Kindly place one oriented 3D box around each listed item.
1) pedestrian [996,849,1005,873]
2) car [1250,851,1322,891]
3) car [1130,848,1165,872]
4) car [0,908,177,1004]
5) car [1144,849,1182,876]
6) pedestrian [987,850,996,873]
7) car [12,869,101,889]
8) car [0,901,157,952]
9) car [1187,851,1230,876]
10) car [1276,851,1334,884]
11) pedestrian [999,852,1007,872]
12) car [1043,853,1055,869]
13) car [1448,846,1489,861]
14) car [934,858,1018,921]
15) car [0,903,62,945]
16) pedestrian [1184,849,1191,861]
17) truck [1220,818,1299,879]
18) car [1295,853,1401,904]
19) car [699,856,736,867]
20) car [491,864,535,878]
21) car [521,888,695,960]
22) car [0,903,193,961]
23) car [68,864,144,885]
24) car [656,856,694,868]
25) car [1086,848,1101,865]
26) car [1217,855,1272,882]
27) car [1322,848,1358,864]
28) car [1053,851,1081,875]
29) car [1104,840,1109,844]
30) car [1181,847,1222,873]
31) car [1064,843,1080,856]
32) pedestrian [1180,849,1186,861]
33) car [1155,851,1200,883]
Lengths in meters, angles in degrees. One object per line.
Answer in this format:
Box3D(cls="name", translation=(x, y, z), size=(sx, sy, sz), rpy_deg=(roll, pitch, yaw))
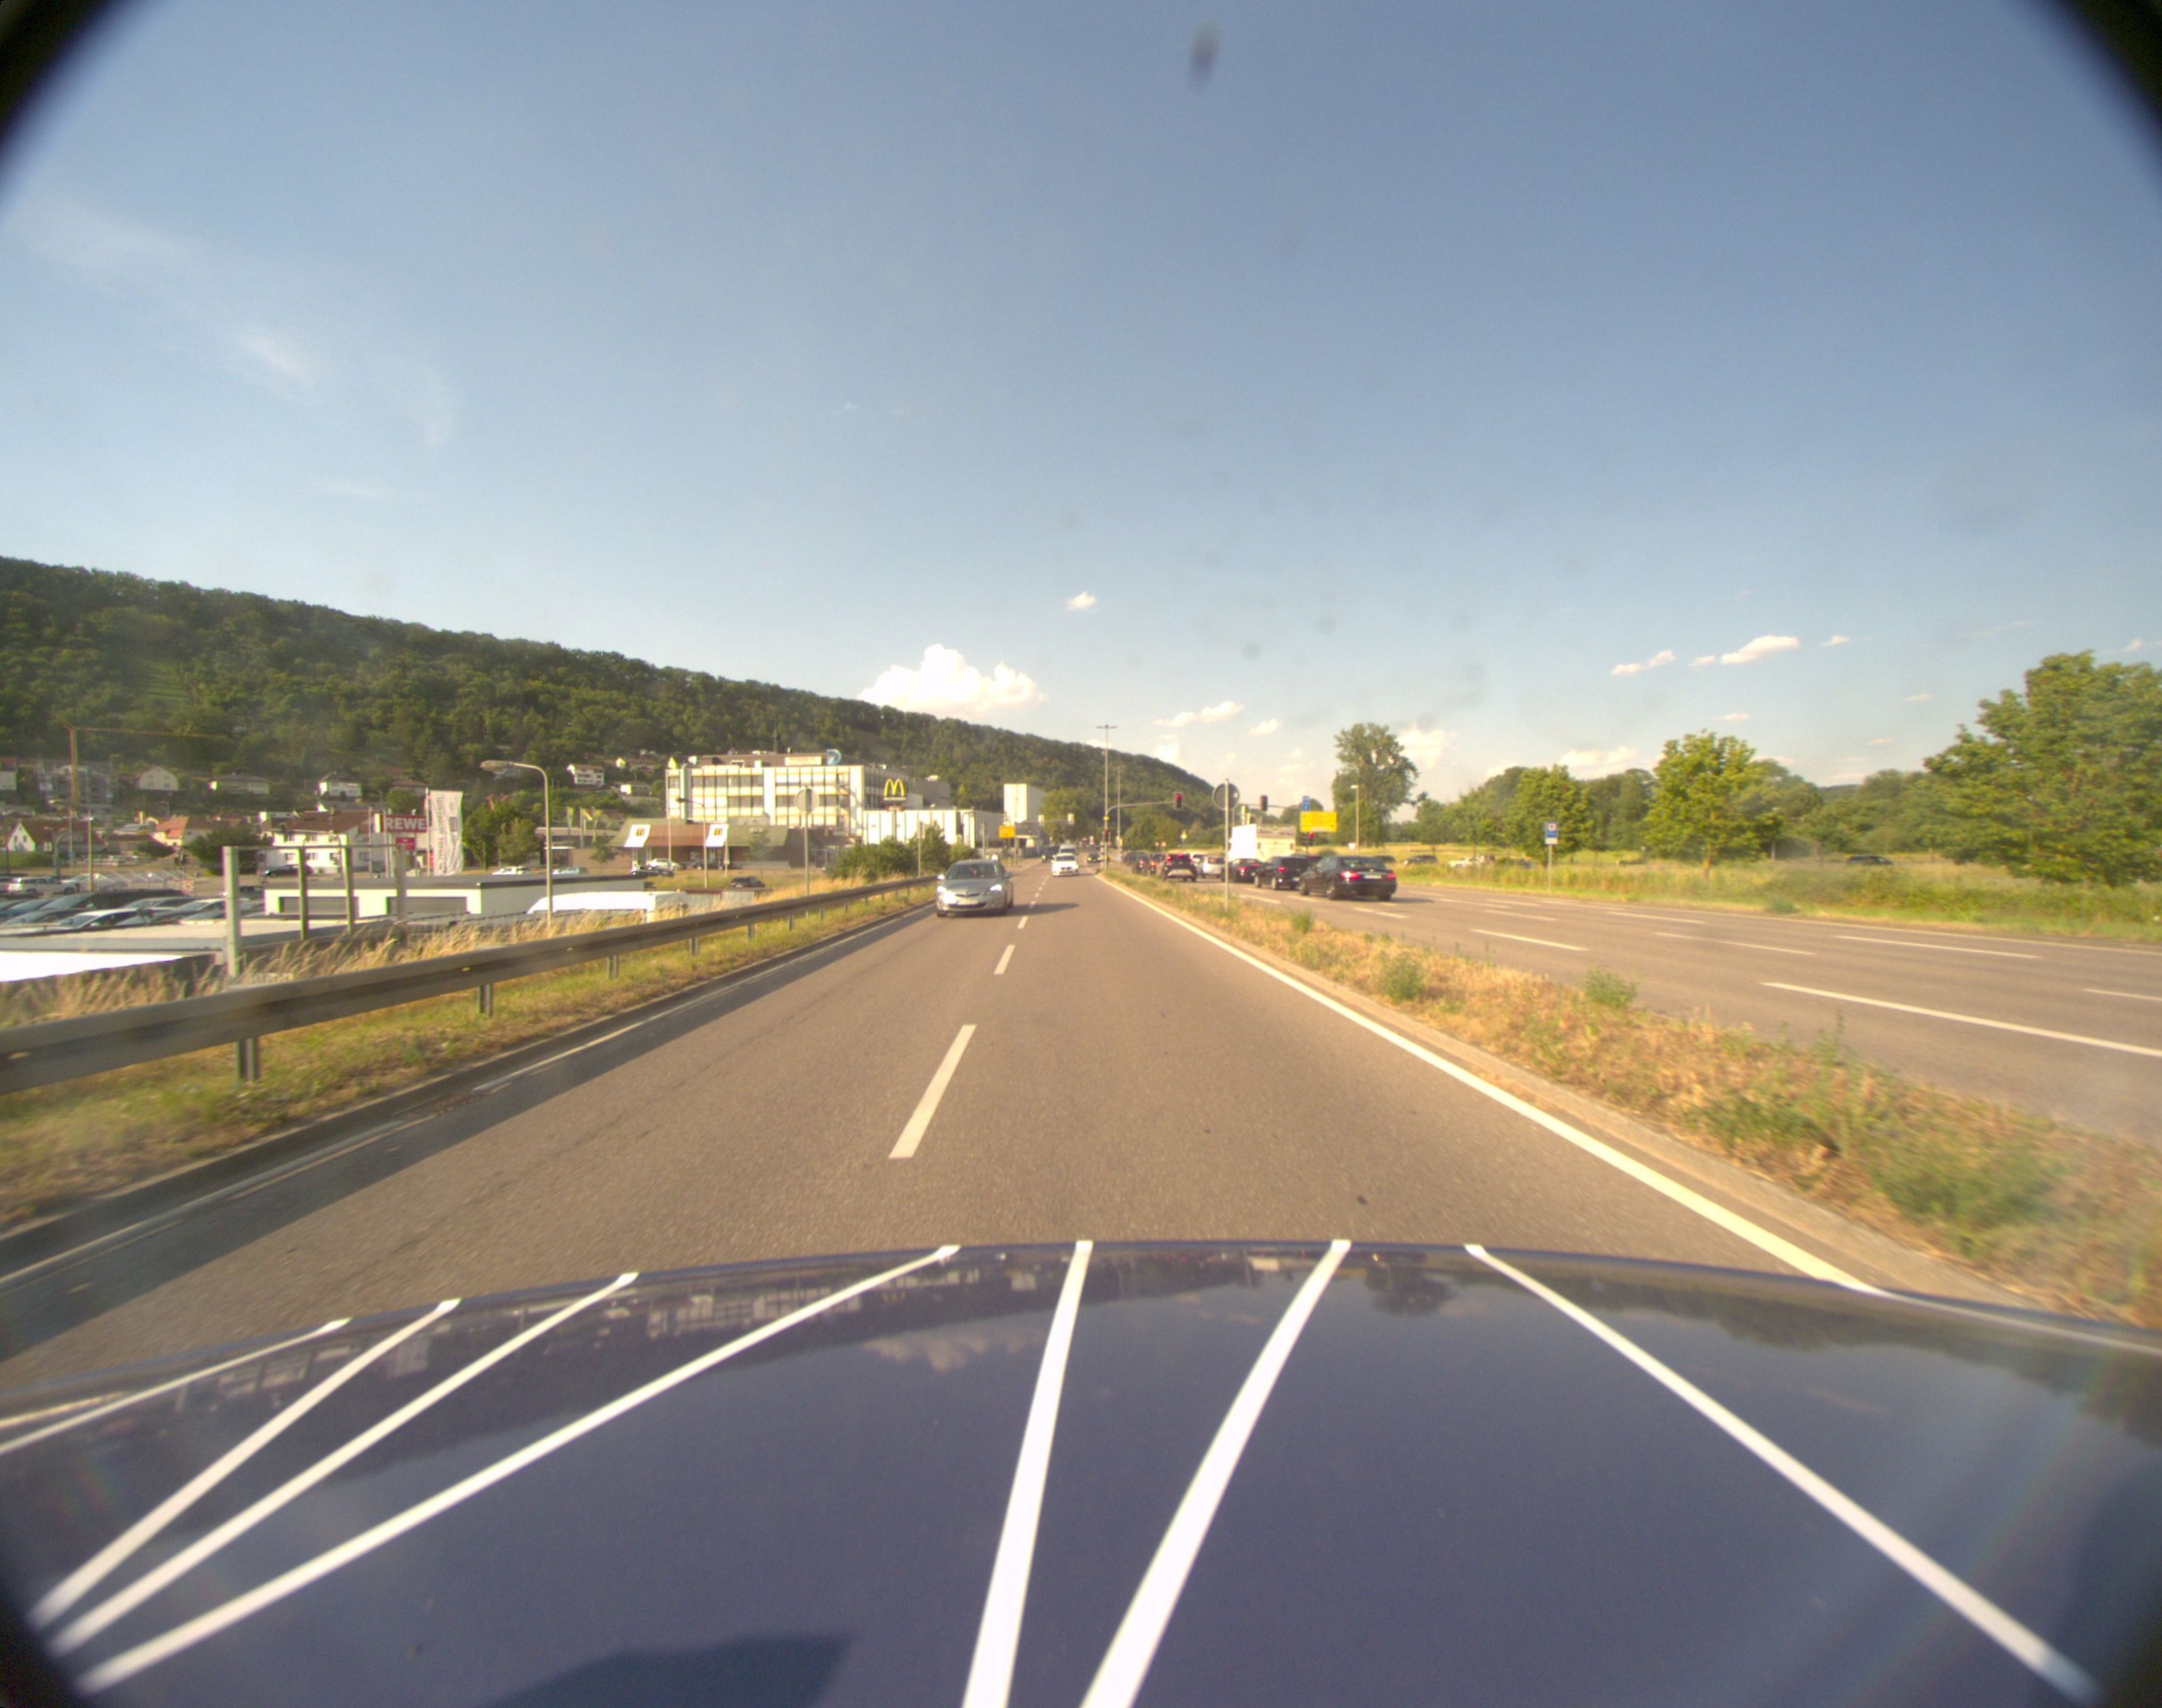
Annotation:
Box3D(cls="pedestrian", translation=(-6.309, 0.565, 59.350), size=(0.620, 1.872, 0.861), rpy_deg=(0, 2, -2))
Box3D(cls="car", translation=(8.501, 0.652, 31.836), size=(1.706, 1.465, 4.243), rpy_deg=(1, 1, -2))
Box3D(cls="car", translation=(4.564, 0.360, 52.551), size=(1.795, 1.458, 4.927), rpy_deg=(-1, 1, -2))
Box3D(cls="car", translation=(-26.339, 2.581, 18.846), size=(1.759, 1.941, 4.827), rpy_deg=(-2, 2, 3))
Box3D(cls="car", translation=(4.962, 0.524, 46.499), size=(1.785, 1.528, 4.571), rpy_deg=(0, -1, -1))
Box3D(cls="pedestrian", translation=(-7.185, 0.604, 60.870), size=(0.532, 1.740, 0.537), rpy_deg=(3, 2, 4))
Box3D(cls="car", translation=(-88.377, 2.126, 65.644), size=(1.837, 1.554, 4.338), rpy_deg=(0, 1, -2))
Box3D(cls="car", translation=(-41.666, 2.944, 31.101), size=(1.757, 1.557, 4.484), rpy_deg=(-2, 2, 16))
Box3D(cls="car", translation=(8.002, 0.574, 48.108), size=(1.706, 1.397, 5.079), rpy_deg=(0, 1, -1))
Box3D(cls="car", translation=(11.636, 0.655, 39.794), size=(1.767, 1.520, 3.998), rpy_deg=(1, 1, -1))
Box3D(cls="pedestrian", translation=(-6.447, 0.658, 62.820), size=(0.573, 1.606, 0.622), rpy_deg=(0, 2, -5))
Box3D(cls="car", translation=(-4.746, 1.012, 113.623), size=(1.795, 2.155, 4.587), rpy_deg=(-1, 1, -2))
Box3D(cls="car", translation=(47.402, -0.058, 92.940), size=(4.259, 1.609, 1.590), rpy_deg=(-2, 2, -6))
Box3D(cls="car", translation=(-2.739, 0.884, 20.567), size=(1.691, 1.383, 3.882), rpy_deg=(-1, 2, 0))
Box3D(cls="car", translation=(-44.596, 2.956, 30.204), size=(1.757, 1.557, 4.485), rpy_deg=(-2, 2, 21))
Box3D(cls="pedestrian", translation=(14.531, 0.146, 103.835), size=(0.655, 1.597, 0.890), rpy_deg=(-2, 2, 21))
Box3D(cls="truck", translation=(12.039, -0.472, 52.432), size=(2.940, 3.669, 10.496), rpy_deg=(1, 2, 0))
Box3D(cls="car", translation=(8.667, 0.738, 25.119), size=(1.720, 1.455, 4.725), rpy_deg=(1, 0, -1))
Box3D(cls="car", translation=(-47.605, 0.967, 99.576), size=(3.996, 1.449, 1.860), rpy_deg=(0, 2, 1))
Box3D(cls="car", translation=(-64.075, 1.939, 85.744), size=(3.649, 1.412, 1.690), rpy_deg=(-2, 2, 5))
Box3D(cls="car", translation=(-14.141, 2.072, 22.879), size=(3.996, 1.806, 1.834), rpy_deg=(-2, 2, 1))
Box3D(cls="car", translation=(-37.168, 2.858, 28.526), size=(1.759, 1.557, 4.827), rpy_deg=(-2, 2, 3))
Box3D(cls="car", translation=(-90.196, 1.863, 70.390), size=(1.791, 1.646, 3.998), rpy_deg=(-2, 2, -1))
Box3D(cls="car", translation=(-53.223, 1.029, 99.618), size=(3.997, 1.449, 1.860), rpy_deg=(0, 2, 1))
Box3D(cls="car", translation=(1.703, 0.301, 102.658), size=(1.795, 2.155, 4.587), rpy_deg=(-1, 1, -2))
Box3D(cls="car", translation=(8.508, 0.717, 39.968), size=(1.706, 1.276, 4.817), rpy_deg=(1, 0, -2))
Box3D(cls="car", translation=(29.691, 0.203, 87.256), size=(3.694, 1.609, 1.593), rpy_deg=(-2, 2, 11))
Box3D(cls="car", translation=(-0.938, 0.607, 53.961), size=(1.825, 1.552, 3.999), rpy_deg=(-2, 2, 0))
Box3D(cls="car", translation=(8.592, -4.020, 258.284), size=(1.713, 1.426, 4.143), rpy_deg=(1, 2, 0))
Box3D(cls="car", translation=(8.496, 0.411, 54.015), size=(1.999, 1.669, 4.805), rpy_deg=(0, 1, -2))
Box3D(cls="car", translation=(-0.964, -0.510, 84.972), size=(1.691, 1.383, 3.882), rpy_deg=(-1, 2, 0))
Box3D(cls="pedestrian", translation=(14.035, 0.110, 104.783), size=(0.655, 1.597, 0.838), rpy_deg=(-2, 2, 21))
Box3D(cls="car", translation=(5.004, 0.624, 39.980), size=(1.785, 1.511, 3.998), rpy_deg=(1, 1, -1))
